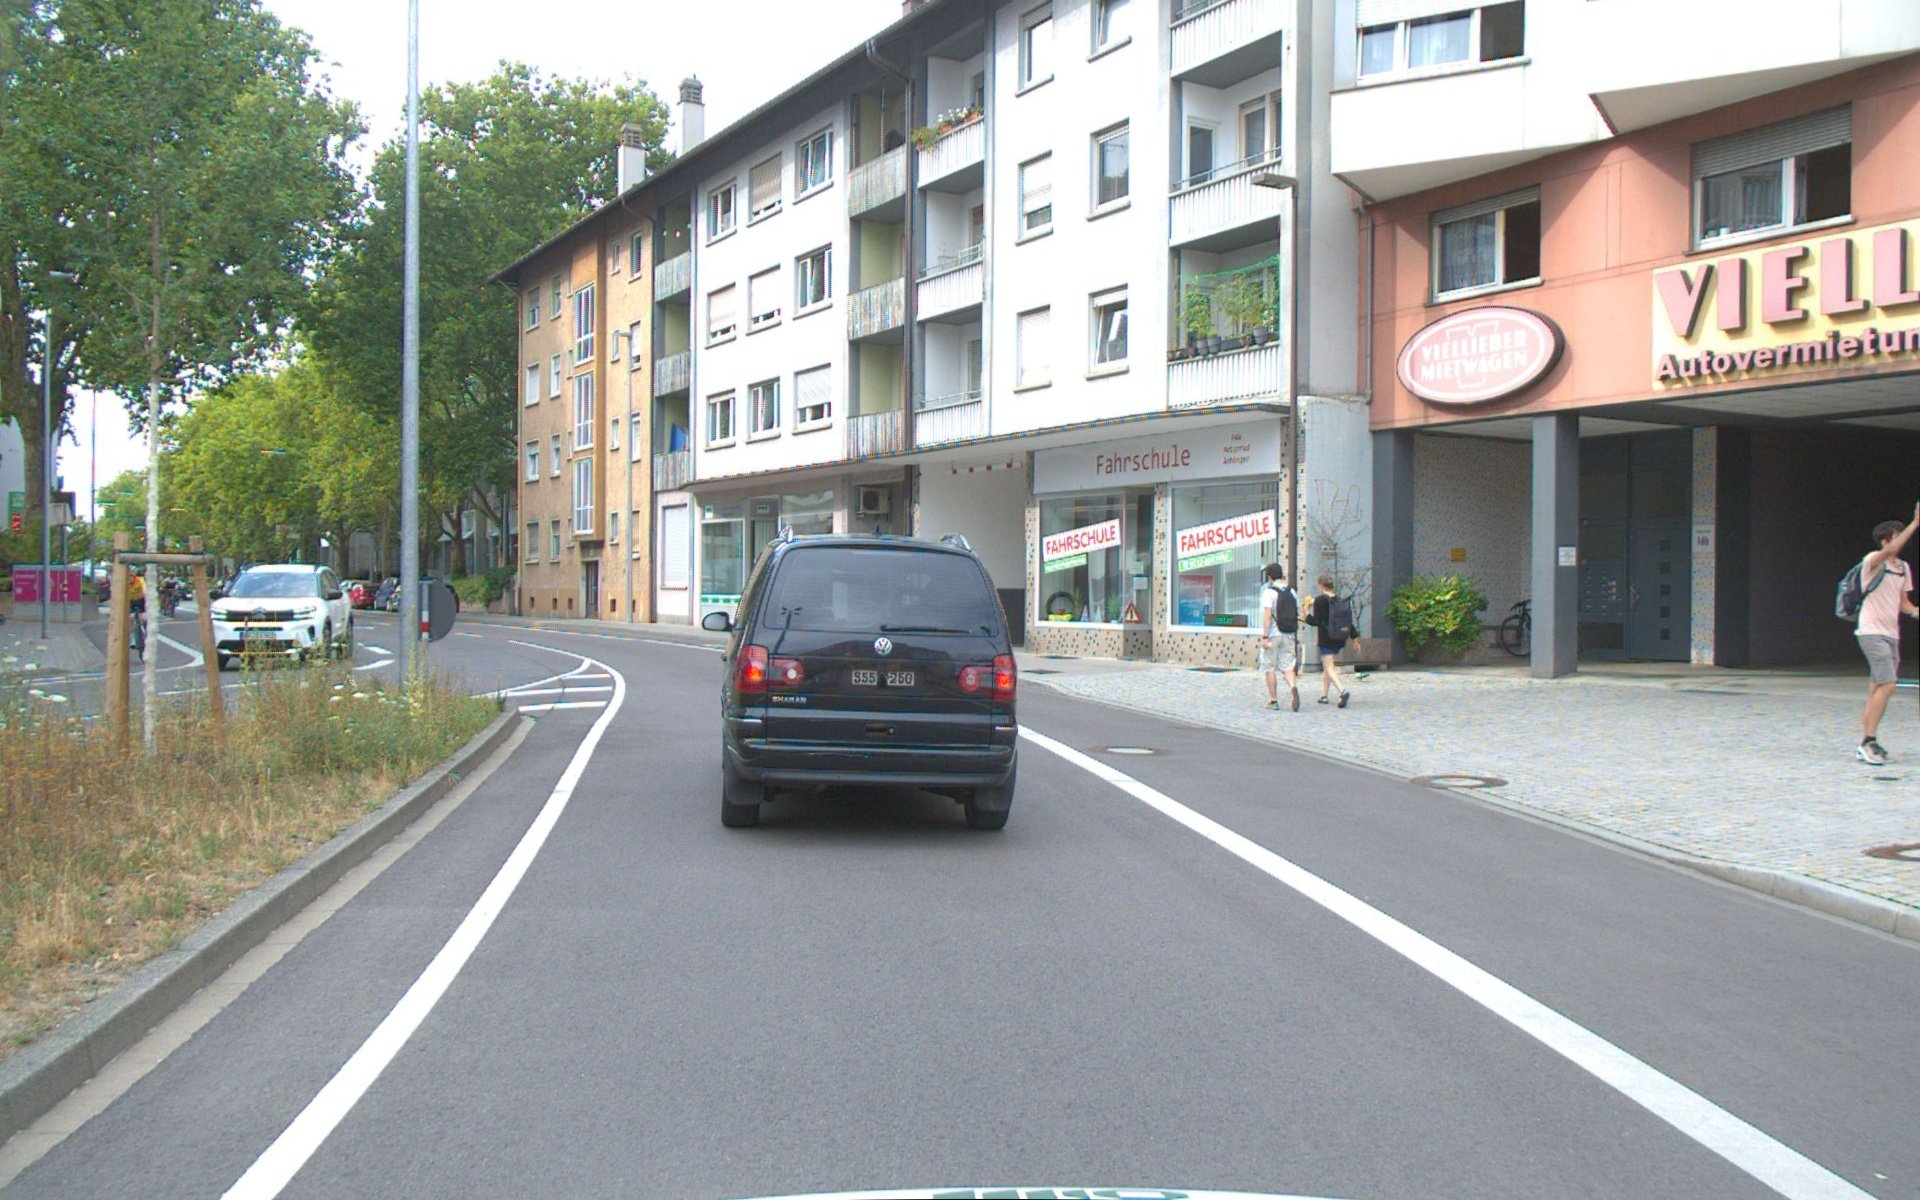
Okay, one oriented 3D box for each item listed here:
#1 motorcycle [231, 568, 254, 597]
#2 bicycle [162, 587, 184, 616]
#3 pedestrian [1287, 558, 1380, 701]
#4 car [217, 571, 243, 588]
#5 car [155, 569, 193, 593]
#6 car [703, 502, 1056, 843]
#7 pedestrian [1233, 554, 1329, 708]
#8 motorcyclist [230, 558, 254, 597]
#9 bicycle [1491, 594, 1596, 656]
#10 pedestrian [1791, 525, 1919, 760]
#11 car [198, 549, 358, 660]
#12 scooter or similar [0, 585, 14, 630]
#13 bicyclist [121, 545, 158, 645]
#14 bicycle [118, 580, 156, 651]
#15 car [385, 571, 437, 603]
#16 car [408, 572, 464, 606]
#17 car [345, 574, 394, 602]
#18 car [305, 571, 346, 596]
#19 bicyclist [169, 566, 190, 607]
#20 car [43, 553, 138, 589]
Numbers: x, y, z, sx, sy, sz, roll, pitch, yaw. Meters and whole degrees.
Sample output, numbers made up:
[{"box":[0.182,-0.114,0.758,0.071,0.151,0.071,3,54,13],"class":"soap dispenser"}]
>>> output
[{"box":[-28.257,-0.676,65.109,0.713,1.114,2.019,-2,1,-26],"class":"motorcycle"},{"box":[-30.519,0.037,64.146,0.728,1.024,1.894,3,1,-25],"class":"bicycle"},{"box":[4.602,0.348,20.400,0.598,1.697,0.934,-3,2,-31],"class":"pedestrian"},{"box":[-65.395,-1.812,148.105,1.658,1.418,3.839,1,0,-30],"class":"car"},{"box":[-48.981,-1.186,103.023,1.791,1.432,4.563,1,0,-30],"class":"car"},{"box":[-0.701,0.379,10.770,1.779,1.796,3.729,2,0,-10],"class":"car"},{"box":[3.870,0.353,19.968,0.741,1.780,0.854,-3,2,-22],"class":"pedestrian"},{"box":[-28.313,-0.885,65.212,0.786,1.486,0.858,-1,1,-26],"class":"motorcyclist"},{"box":[9.141,0.373,25.968,0.447,0.912,1.661,0,1,-30],"class":"bicycle"},{"box":[7.626,0.329,13.854,0.648,1.884,0.963,-3,1,-26],"class":"pedestrian"},{"box":[-11.282,0.041,27.636,1.801,1.689,4.309,1,1,-14],"class":"car"},{"box":[-27.688,0.213,47.455,1.149,1.287,0.287,1,0,23],"class":"scooter or similar"},{"box":[-14.739,-0.090,29.703,0.532,1.774,0.750,1,0,-31],"class":"bicyclist"},{"box":[-14.746,0.266,29.619,0.506,1.246,1.547,1,0,-31],"class":"bicycle"},{"box":[-26.295,-0.621,79.125,1.640,1.447,3.907,1,1,-30],"class":"car"},{"box":[-23.812,-0.515,75.046,1.640,1.447,3.828,1,1,-30],"class":"car"},{"box":[-31.289,-0.627,87.534,1.658,1.418,4.415,1,0,-30],"class":"car"},{"box":[-38.916,-1.013,101.386,1.613,1.495,4.273,1,0,-30],"class":"car"},{"box":[-30.475,-0.516,64.579,0.649,1.552,0.994,3,1,-25],"class":"bicyclist"},{"box":[-44.450,-1.470,84.576,4.210,1.633,1.949,2,1,-30],"class":"car"}]
